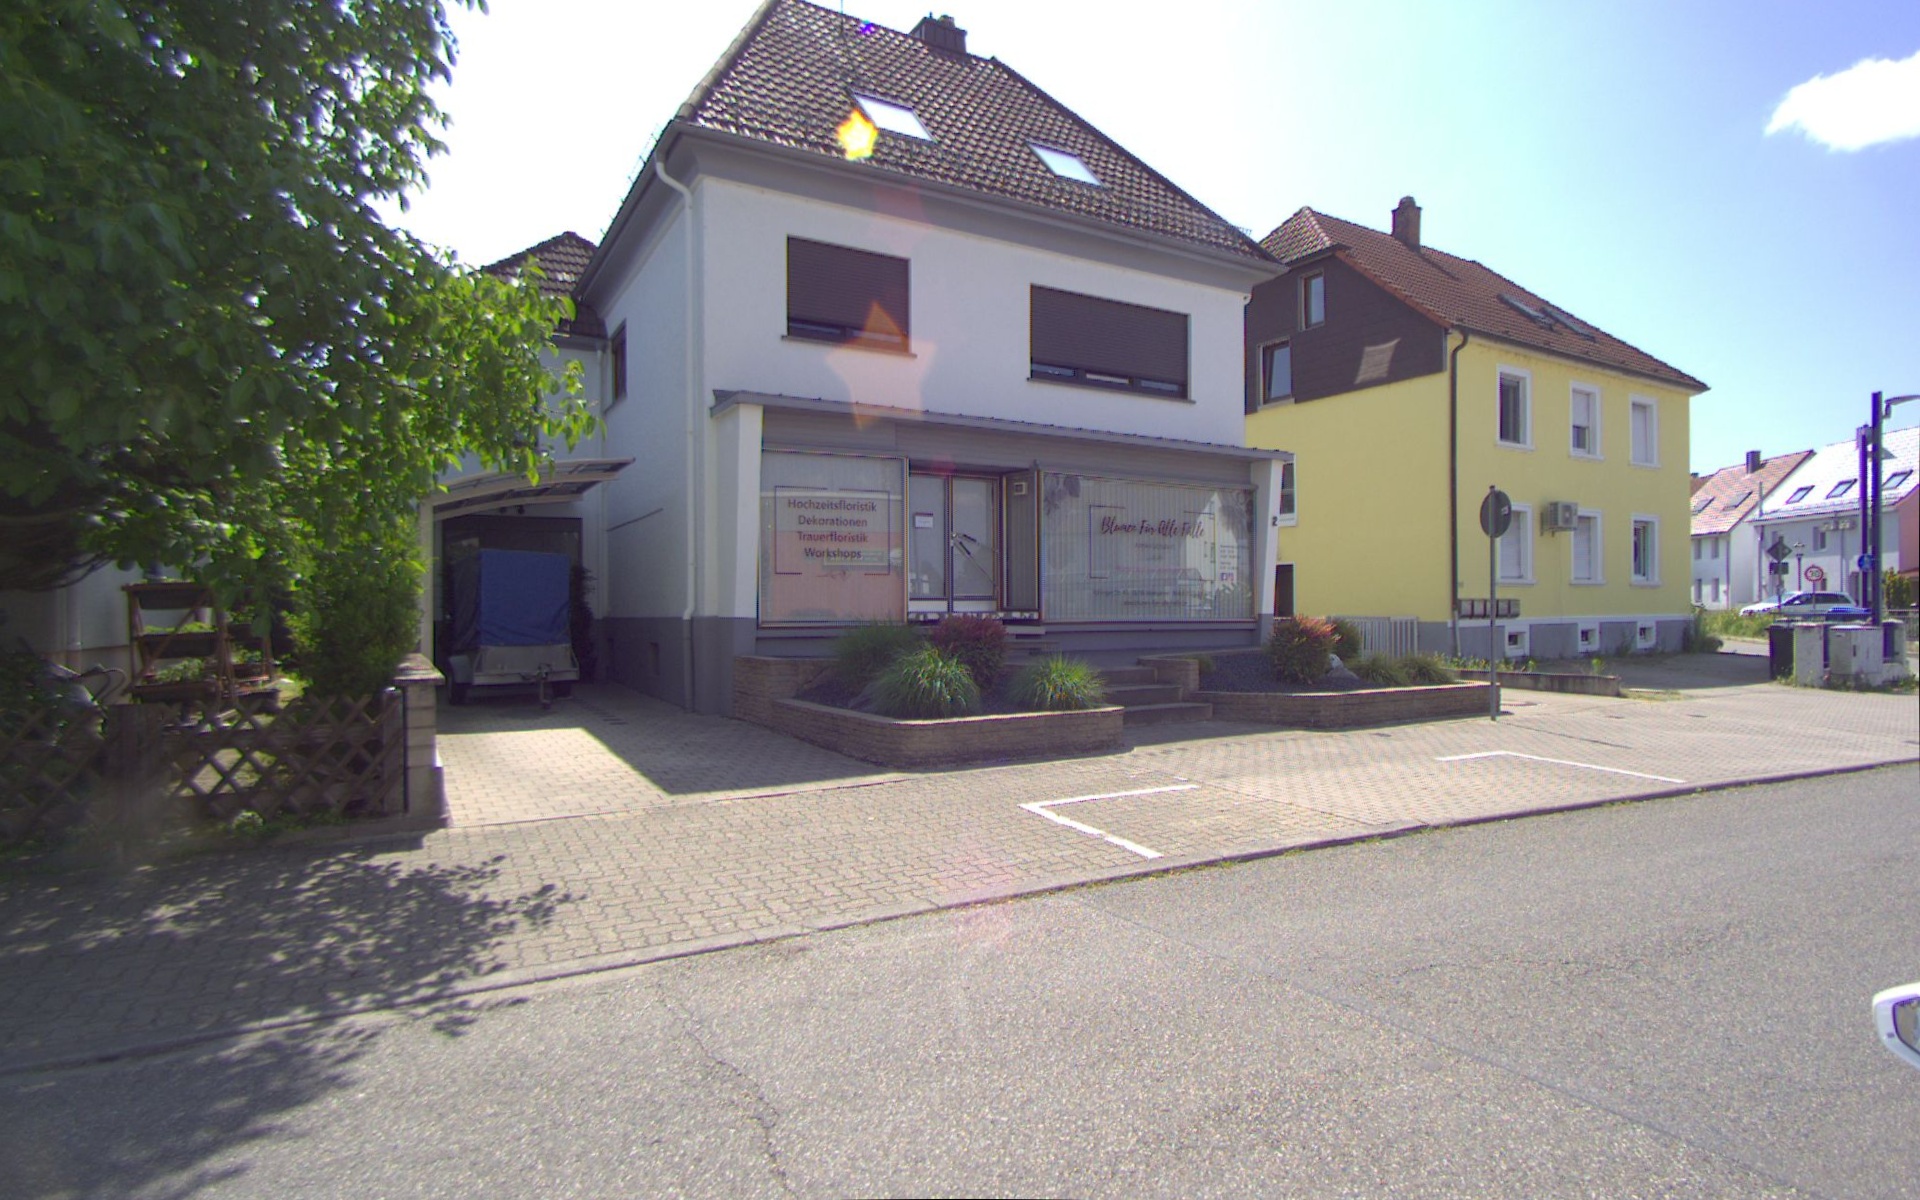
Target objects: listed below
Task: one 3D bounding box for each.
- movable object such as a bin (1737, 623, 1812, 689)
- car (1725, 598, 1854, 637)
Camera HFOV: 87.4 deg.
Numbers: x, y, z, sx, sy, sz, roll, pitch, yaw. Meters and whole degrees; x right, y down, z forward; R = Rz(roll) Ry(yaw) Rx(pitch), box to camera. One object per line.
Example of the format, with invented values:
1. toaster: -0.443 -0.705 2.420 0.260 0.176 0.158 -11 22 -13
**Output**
1. movable object such as a bin: 16.070 1.084 19.823 0.891 1.241 0.882 0 0 -28
2. car: 37.176 0.769 45.080 4.171 1.509 1.748 2 3 3
